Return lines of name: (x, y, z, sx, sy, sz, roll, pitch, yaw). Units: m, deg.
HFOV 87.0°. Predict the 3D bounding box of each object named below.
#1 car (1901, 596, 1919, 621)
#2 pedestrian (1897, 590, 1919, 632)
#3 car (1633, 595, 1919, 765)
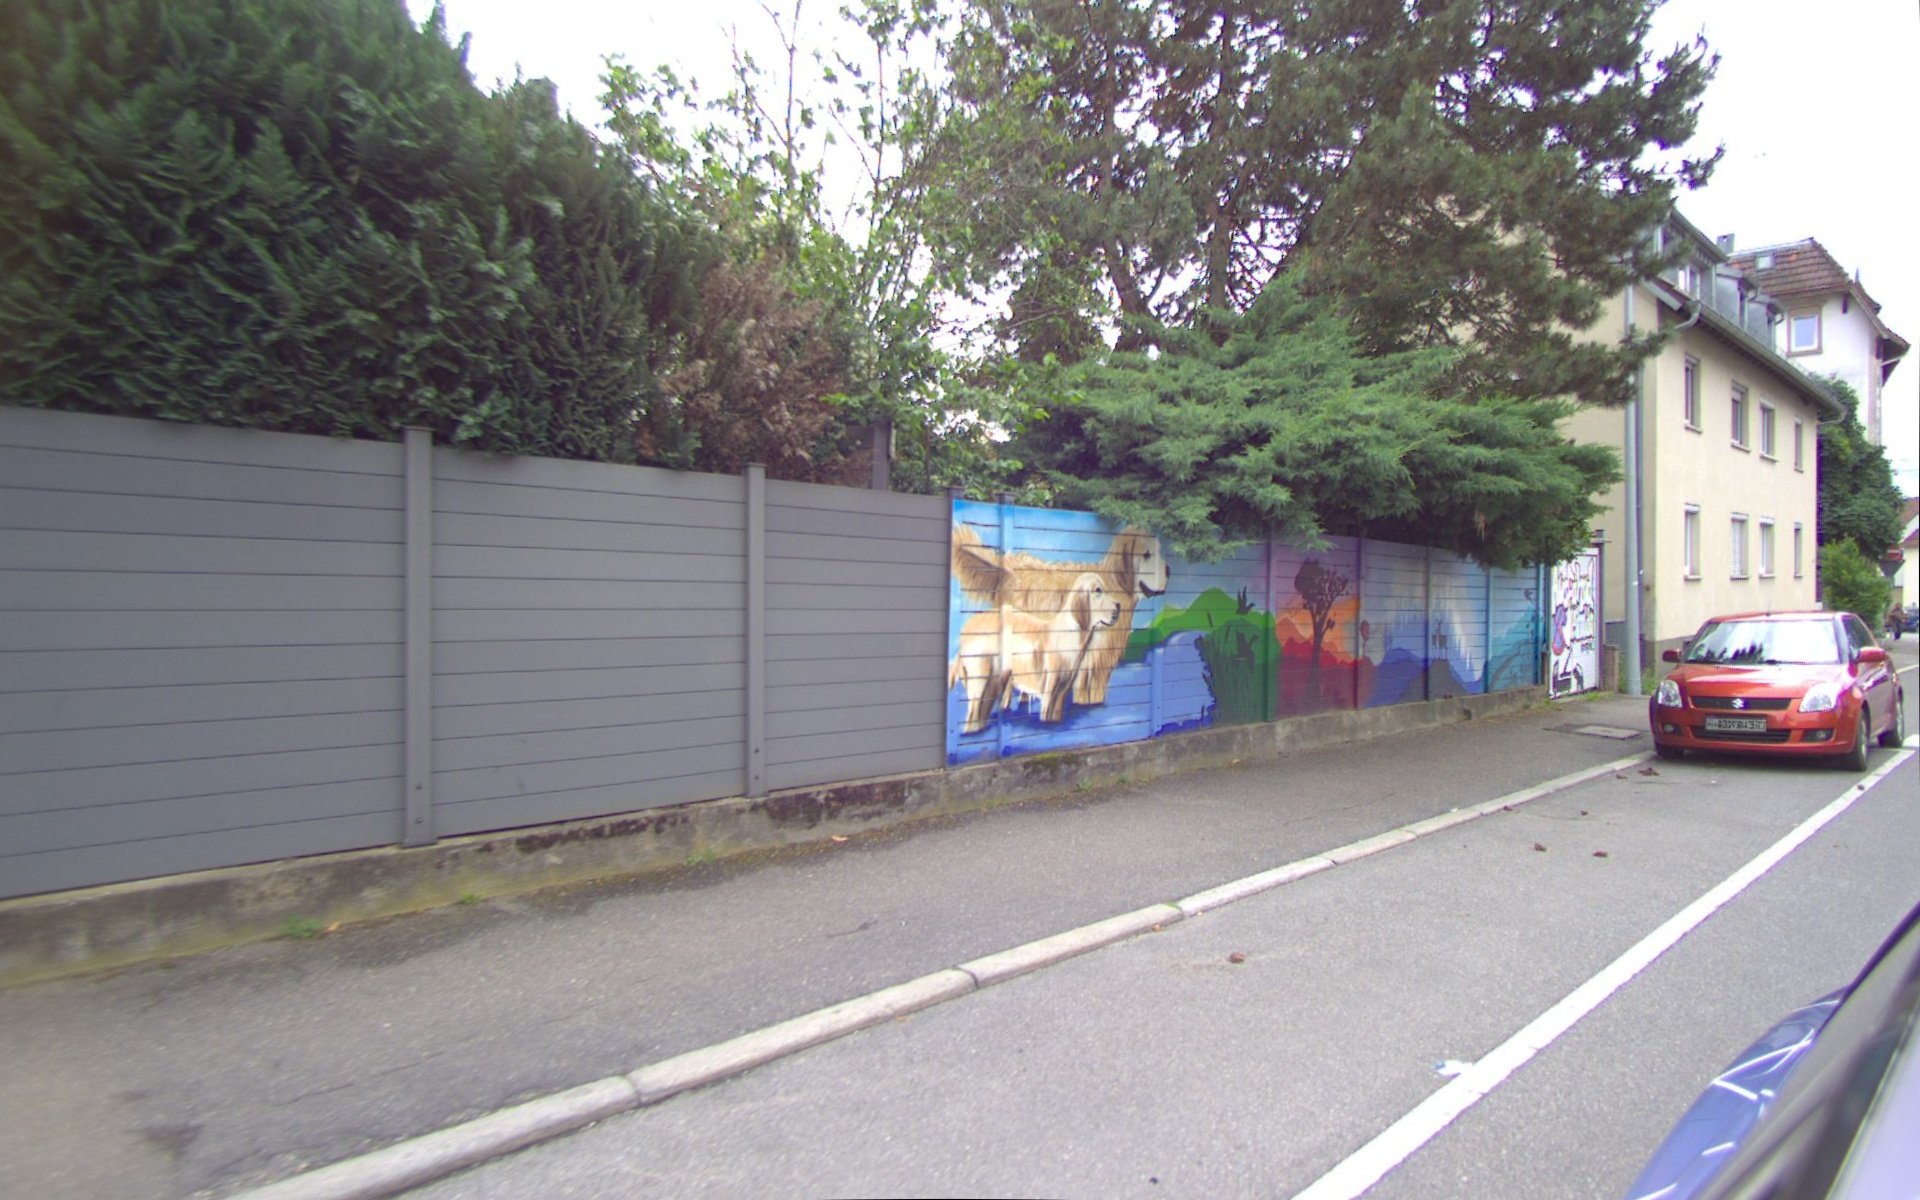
car: (71.140, 0.663, 74.563, 1.707, 1.753, 3.957, 0, -1, 29)
pedestrian: (40.209, 0.476, 42.719, 0.856, 1.755, 1.008, -1, -2, 38)
car: (8.853, 0.707, 10.813, 3.930, 1.470, 1.761, 0, -1, -41)
